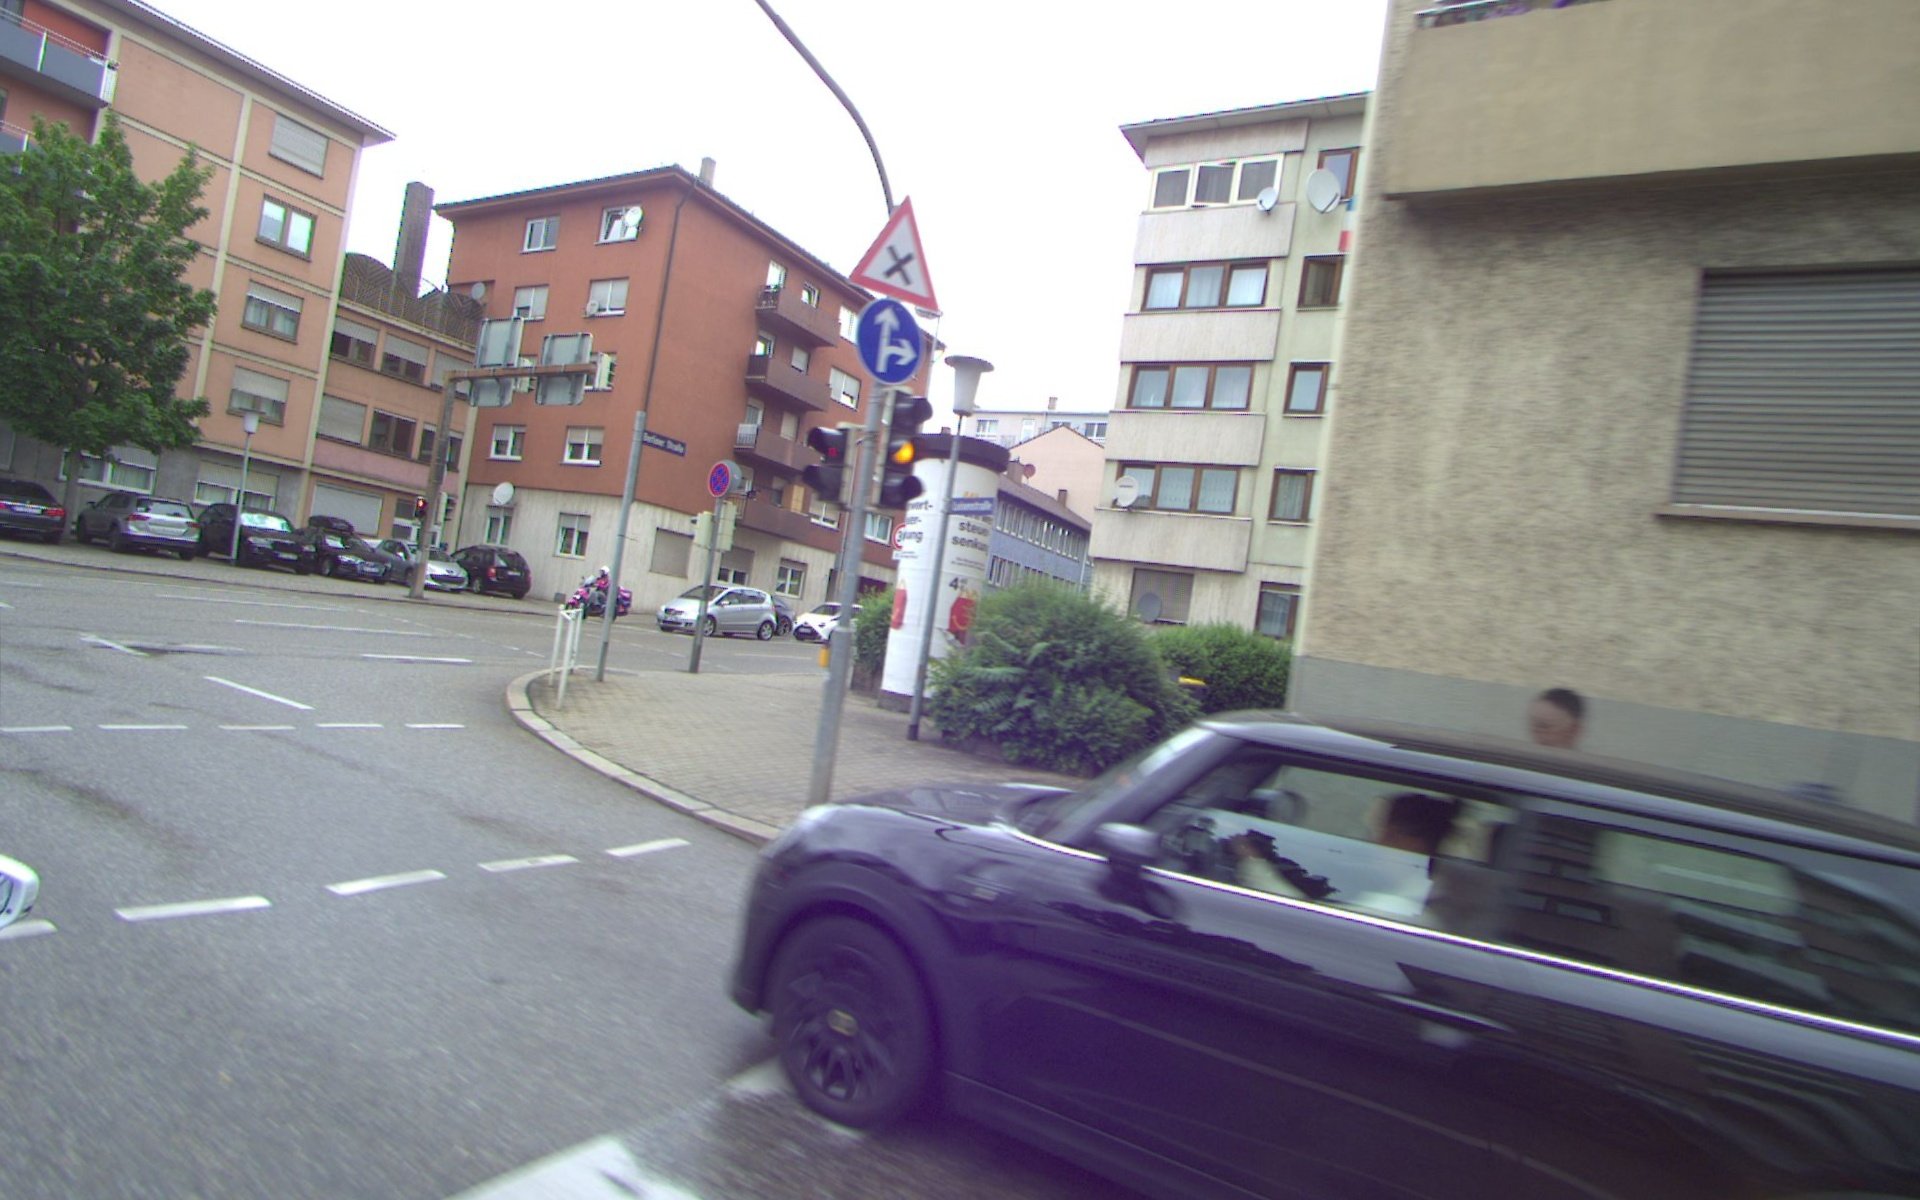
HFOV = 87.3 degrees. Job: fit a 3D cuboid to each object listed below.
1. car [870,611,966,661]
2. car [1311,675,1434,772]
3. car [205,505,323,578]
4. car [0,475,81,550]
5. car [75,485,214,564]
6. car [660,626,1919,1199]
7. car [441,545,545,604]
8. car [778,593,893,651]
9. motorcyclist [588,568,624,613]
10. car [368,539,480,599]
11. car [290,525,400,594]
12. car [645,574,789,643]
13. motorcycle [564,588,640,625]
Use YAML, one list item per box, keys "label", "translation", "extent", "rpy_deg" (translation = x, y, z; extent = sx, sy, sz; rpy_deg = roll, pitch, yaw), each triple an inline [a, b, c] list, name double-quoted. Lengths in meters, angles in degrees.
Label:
- label: "car"
  translation: [-1.654, 1.497, 40.774]
  extent: [1.820, 1.572, 3.994]
  rpy_deg: [7, -2, 32]
- label: "car"
  translation: [8.112, 2.346, 19.633]
  extent: [1.736, 1.492, 3.321]
  rpy_deg: [6, -1, 29]
- label: "car"
  translation: [-20.861, -1.774, 30.086]
  extent: [3.947, 1.739, 1.984]
  rpy_deg: [6, -2, 43]
- label: "car"
  translation: [-24.693, -2.390, 25.887]
  extent: [4.718, 1.572, 1.847]
  rpy_deg: [7, -2, 34]
- label: "car"
  translation: [-22.708, -2.123, 27.989]
  extent: [3.939, 1.679, 1.988]
  rpy_deg: [7, -2, 37]
- label: "car"
  translation: [1.263, 1.086, 2.974]
  extent: [4.003, 1.435, 1.666]
  rpy_deg: [6, -4, 30]
- label: "car"
  translation: [-17.276, -0.969, 37.171]
  extent: [3.948, 1.723, 1.992]
  rpy_deg: [4, -5, 44]
- label: "car"
  translation: [-4.315, 0.810, 35.471]
  extent: [1.819, 1.572, 3.995]
  rpy_deg: [7, -2, 31]
- label: "motorcyclist"
  translation: [-10.760, -0.289, 30.575]
  extent: [0.642, 1.239, 0.658]
  rpy_deg: [7, 0, 25]
- label: "car"
  translation: [-18.338, -1.075, 34.379]
  extent: [3.939, 1.598, 1.672]
  rpy_deg: [5, -5, 37]
- label: "car"
  translation: [-19.951, -1.340, 32.579]
  extent: [3.944, 1.716, 1.795]
  rpy_deg: [7, -4, 42]
- label: "car"
  translation: [-7.290, 0.296, 30.490]
  extent: [1.810, 1.572, 3.994]
  rpy_deg: [7, -2, 32]
- label: "motorcycle"
  translation: [-10.838, 0.216, 30.546]
  extent: [0.626, 0.938, 2.364]
  rpy_deg: [6, -1, 24]
